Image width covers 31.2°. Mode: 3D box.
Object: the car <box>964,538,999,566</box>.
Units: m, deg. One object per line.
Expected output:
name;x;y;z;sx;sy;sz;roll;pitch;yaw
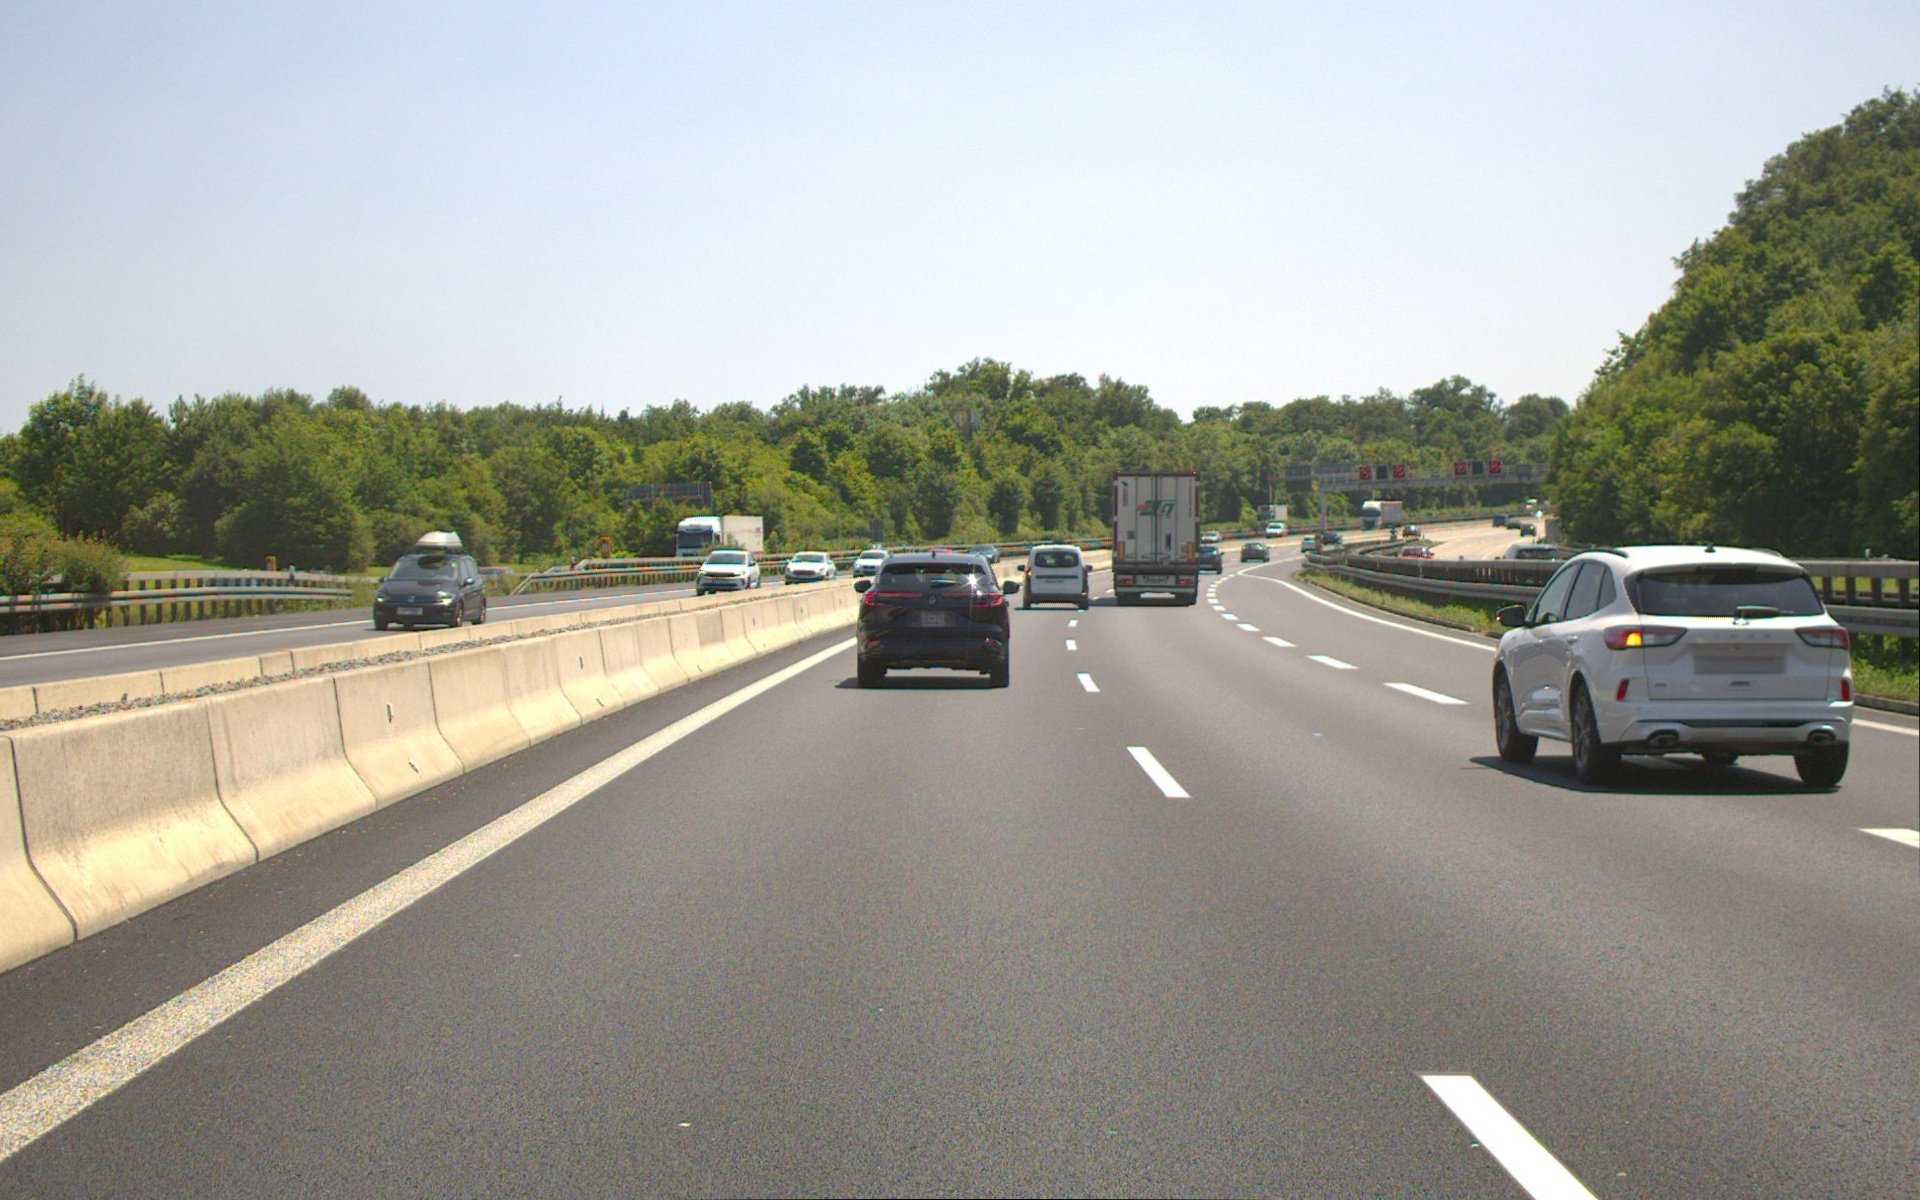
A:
car;1.396;-3.122;224.123;1.994;1.818;4.905;0;1;4

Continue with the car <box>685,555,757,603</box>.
car;-8.504;-0.758;122.682;1.869;1.660;4.663;0;1;5

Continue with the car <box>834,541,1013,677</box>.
car;-0.493;0.081;41.815;1.779;1.572;4.001;0;1;-7

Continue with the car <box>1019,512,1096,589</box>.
car;2.731;-1.389;96.583;1.993;2.007;4.000;-3;1;2

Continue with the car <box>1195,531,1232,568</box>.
car;13.941;-2.792;189.287;1.994;2.007;3.999;0;0;4

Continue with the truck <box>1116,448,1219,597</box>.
truck;6.536;-2.338;107.852;3.032;4.403;12.017;0;1;4

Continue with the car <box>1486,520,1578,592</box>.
car;16.632;-1.291;100.097;1.993;2.007;4.000;-2;1;1

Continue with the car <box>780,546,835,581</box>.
car;-6.712;-1.617;152.136;1.994;1.538;5.041;0;1;3

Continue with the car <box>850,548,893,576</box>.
car;-4.547;-1.955;177.055;1.850;1.390;4.000;1;1;4

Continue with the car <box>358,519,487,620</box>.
car;-11.501;-0.670;73.803;1.993;2.074;4.704;0;1;0

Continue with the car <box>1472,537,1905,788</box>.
car;5.155;0.392;24.976;1.993;1.656;4.468;0;1;-3

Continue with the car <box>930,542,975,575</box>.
car;-0.374;-2.120;174.926;1.994;1.653;4.634;0;1;3

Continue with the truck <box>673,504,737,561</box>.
truck;-15.925;-4.193;215.190;3.083;3.491;5.408;0;0;6
